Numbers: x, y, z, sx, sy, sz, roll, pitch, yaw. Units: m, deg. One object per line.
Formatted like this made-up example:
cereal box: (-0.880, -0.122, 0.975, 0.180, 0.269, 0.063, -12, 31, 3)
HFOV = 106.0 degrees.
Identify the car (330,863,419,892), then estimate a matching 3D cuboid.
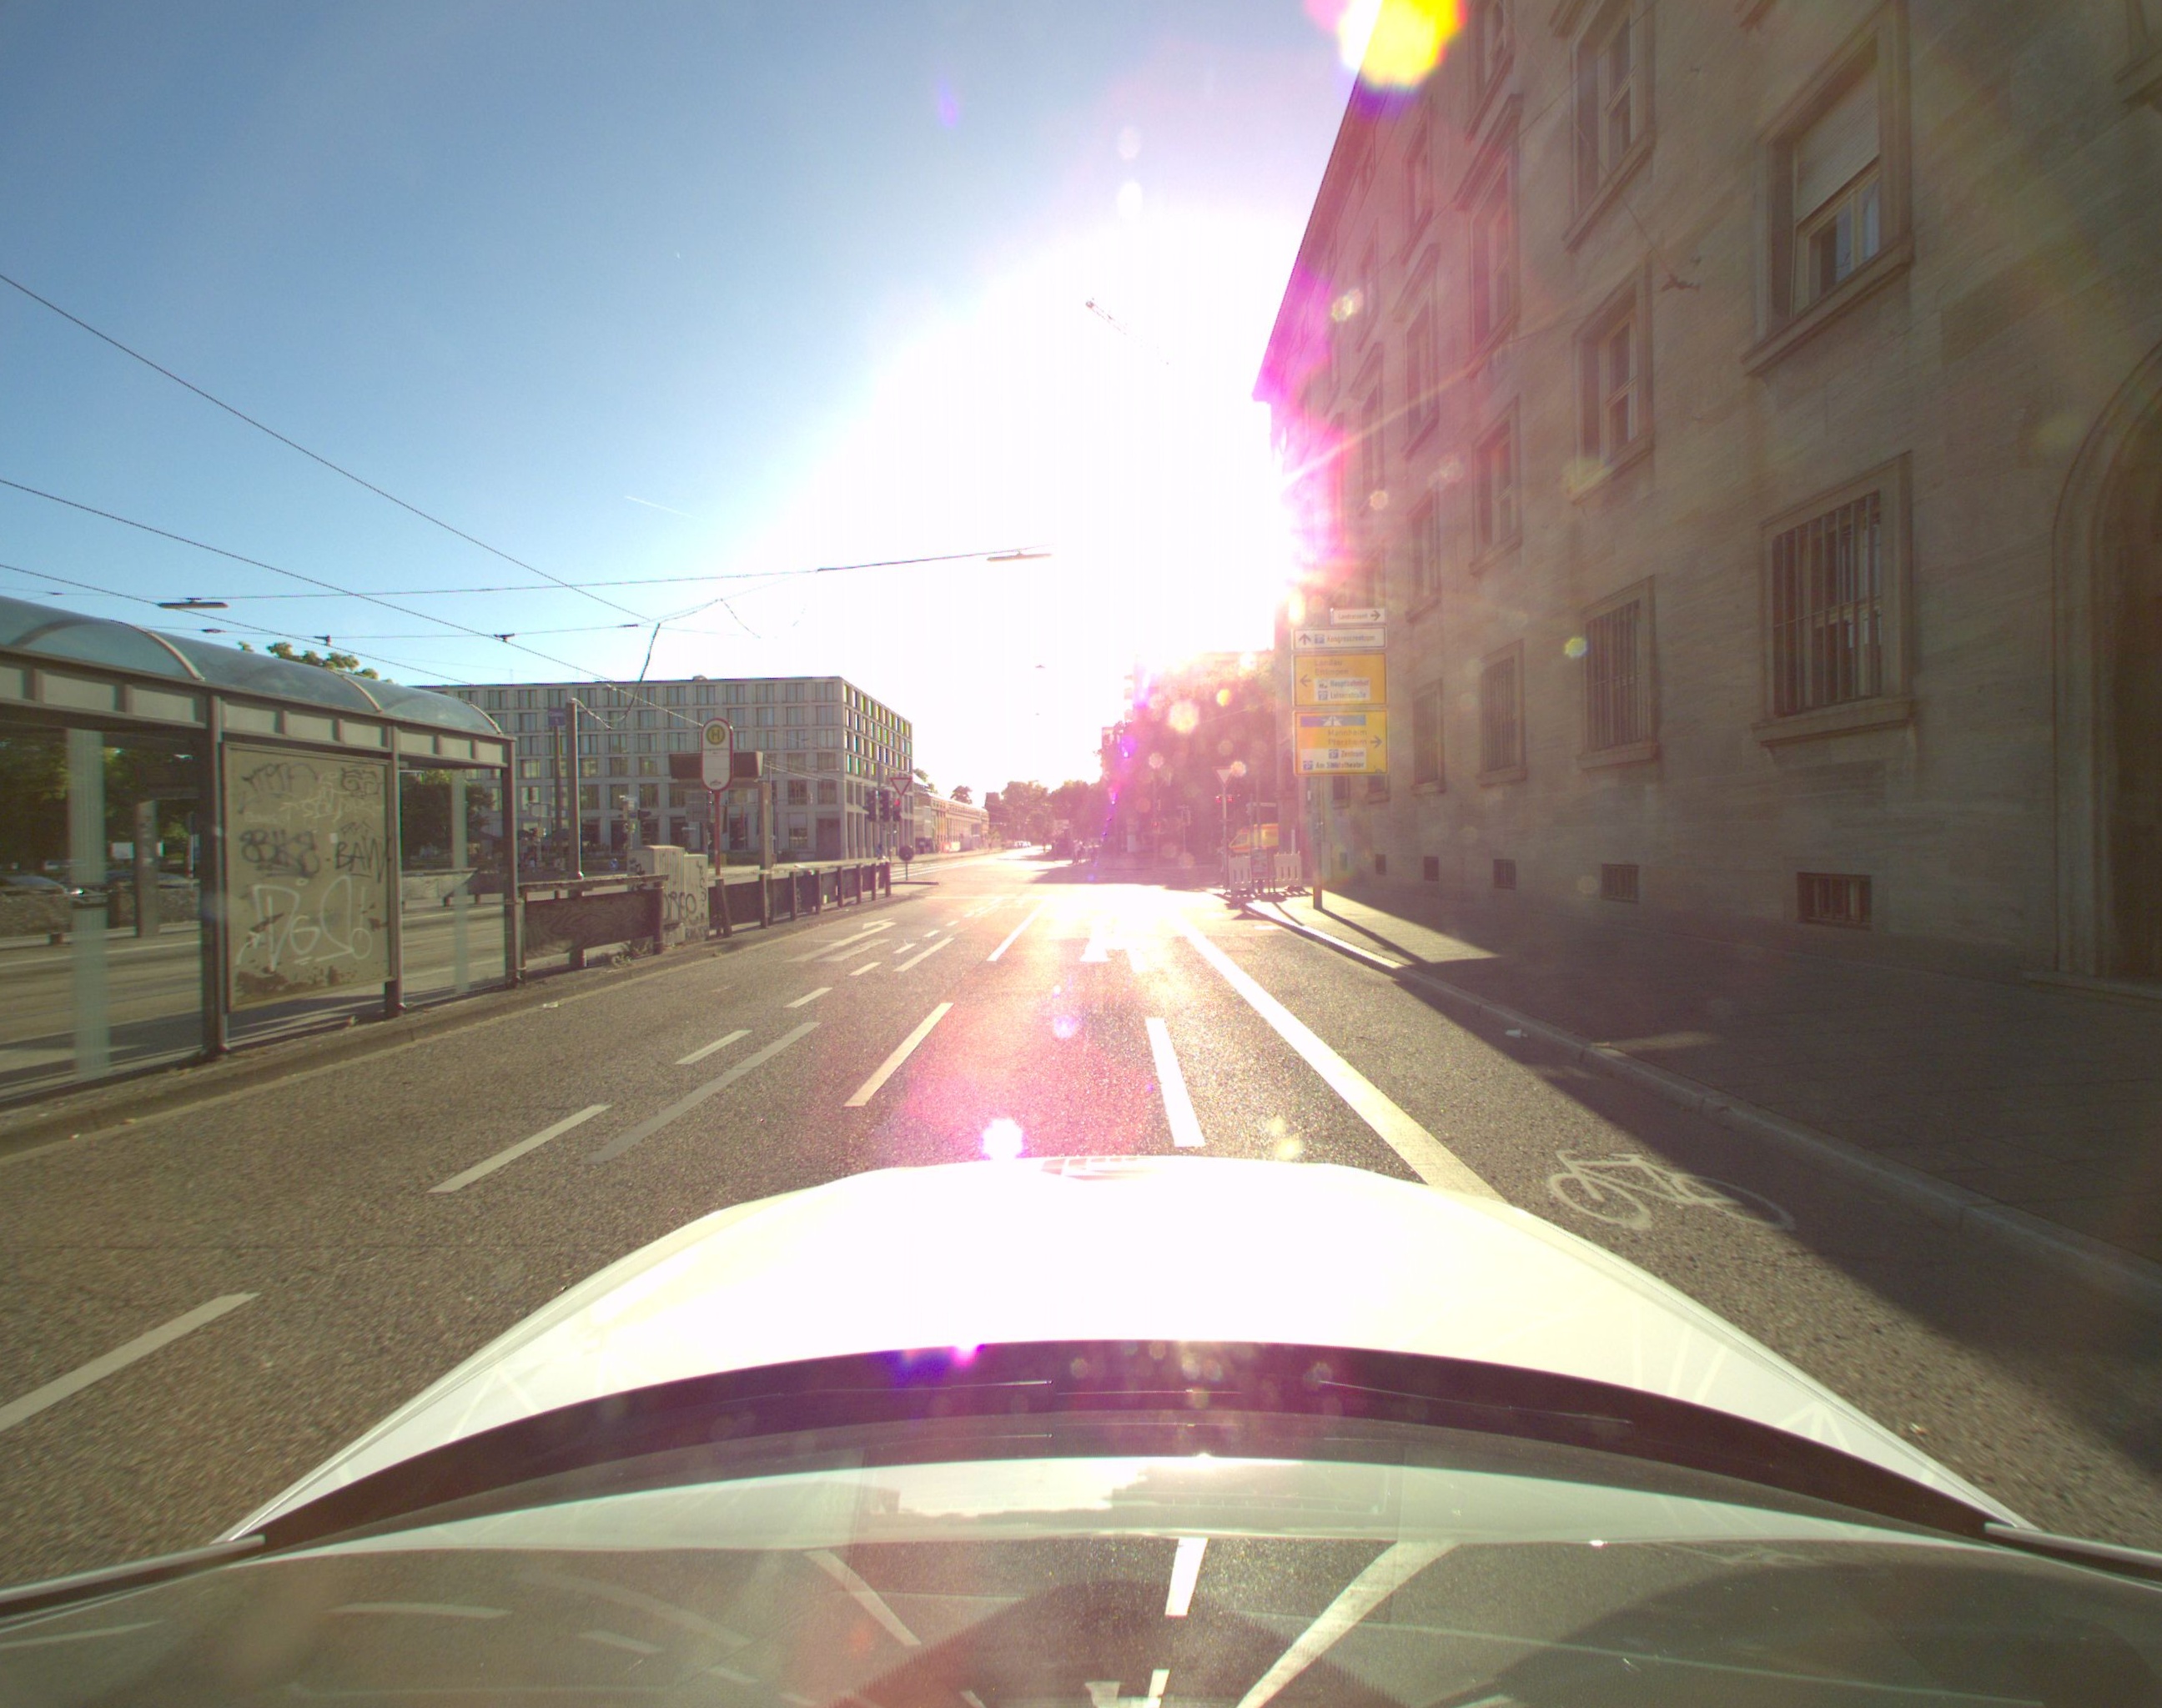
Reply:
car: (-38.830, 1.277, 44.816, 3.520, 1.506, 1.522, -1, 0, -1)

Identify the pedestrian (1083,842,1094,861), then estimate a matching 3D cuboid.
pedestrian: (0.612, -0.207, 66.852, 0.763, 1.558, 0.585, -2, 0, -15)

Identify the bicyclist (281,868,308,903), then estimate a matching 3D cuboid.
bicyclist: (-36.495, 1.474, 37.796, 0.618, 1.582, 0.592, -2, 0, -10)

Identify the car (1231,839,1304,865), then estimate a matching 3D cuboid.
car: (11.916, -0.134, 52.342, 4.298, 1.647, 1.889, 0, 0, 1)

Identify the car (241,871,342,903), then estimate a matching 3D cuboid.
car: (-39.561, 1.646, 40.860, 3.520, 1.506, 1.522, -1, 0, -1)

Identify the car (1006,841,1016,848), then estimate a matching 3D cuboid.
car: (-15.510, -2.186, 180.366, 1.604, 1.498, 3.807, -1, 1, 1)

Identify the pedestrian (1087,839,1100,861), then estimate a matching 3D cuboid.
pedestrian: (0.979, -0.346, 65.989, 0.849, 1.784, 0.776, -2, 0, -15)

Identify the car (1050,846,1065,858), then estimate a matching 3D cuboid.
car: (-2.968, -0.199, 102.567, 1.678, 1.501, 3.510, 0, 0, 1)

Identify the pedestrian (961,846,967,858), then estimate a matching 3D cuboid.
pedestrian: (-12.936, -0.189, 89.914, 0.509, 1.329, 0.369, -1, 0, 3)

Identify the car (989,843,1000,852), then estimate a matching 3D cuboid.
car: (-17.434, -1.302, 164.355, 1.813, 1.712, 3.807, -1, 1, 1)

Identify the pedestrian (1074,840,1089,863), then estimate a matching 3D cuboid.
pedestrian: (0.063, -0.171, 64.878, 0.967, 1.784, 0.776, -2, 0, -15)

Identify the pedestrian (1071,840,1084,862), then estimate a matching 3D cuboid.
pedestrian: (-0.324, -0.272, 66.352, 0.849, 1.784, 0.776, -2, 0, -15)

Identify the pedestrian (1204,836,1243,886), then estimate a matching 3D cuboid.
pedestrian: (5.070, 0.251, 28.954, 1.039, 1.720, 1.032, -2, 0, -10)

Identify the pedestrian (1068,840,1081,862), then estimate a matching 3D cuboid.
pedestrian: (-0.528, -0.269, 67.156, 0.849, 1.784, 0.776, -2, 0, -15)

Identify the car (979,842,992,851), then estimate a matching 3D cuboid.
car: (-18.042, -1.451, 153.688, 1.813, 1.712, 3.807, -1, 1, 1)

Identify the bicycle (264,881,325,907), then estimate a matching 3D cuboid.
bicycle: (-36.732, 1.847, 38.066, 1.922, 1.122, 0.788, -2, 0, -9)

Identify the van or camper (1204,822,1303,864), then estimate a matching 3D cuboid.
van or camper: (12.273, -0.776, 58.313, 6.675, 2.861, 2.915, 0, 0, 5)

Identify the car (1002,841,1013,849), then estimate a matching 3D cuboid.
car: (-15.909, -2.033, 176.250, 1.813, 1.712, 3.807, -1, 1, 1)
